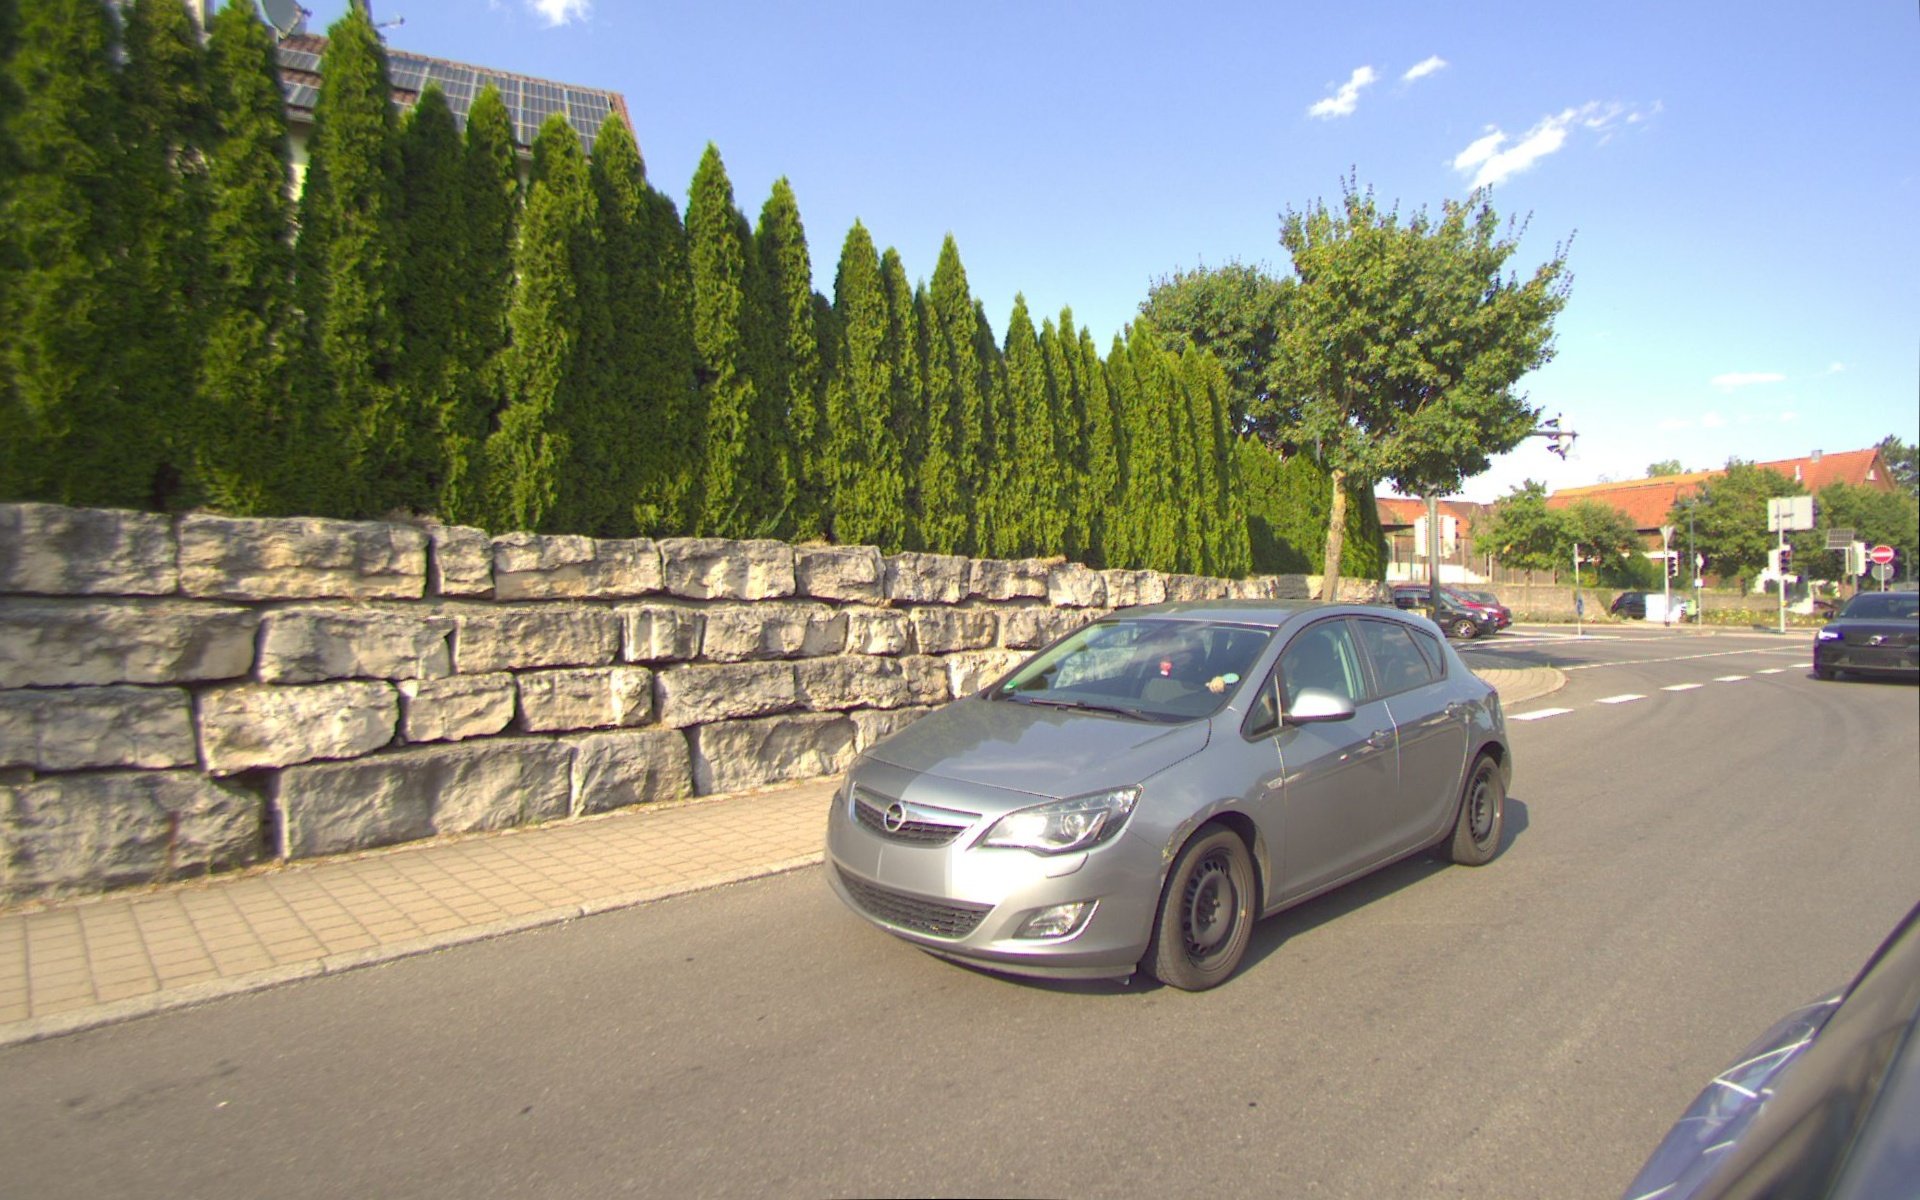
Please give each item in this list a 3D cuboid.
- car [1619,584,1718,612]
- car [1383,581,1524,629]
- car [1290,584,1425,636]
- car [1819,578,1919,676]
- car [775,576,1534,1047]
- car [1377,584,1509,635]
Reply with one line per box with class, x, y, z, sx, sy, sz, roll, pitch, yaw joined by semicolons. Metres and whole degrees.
car;38.127;-0.106;54.566;1.644;1.475;4.085;0;0;-27
car;17.746;0.175;36.508;1.832;1.646;4.241;1;0;-45
car;12.429;0.279;31.762;1.599;1.467;3.602;-1;2;-43
car;17.209;0.461;18.381;3.984;1.626;1.791;0;0;-40
car;1.265;0.647;5.114;4.072;1.440;1.650;0;1;-42
car;15.611;0.275;32.750;3.766;1.561;1.582;1;1;30
